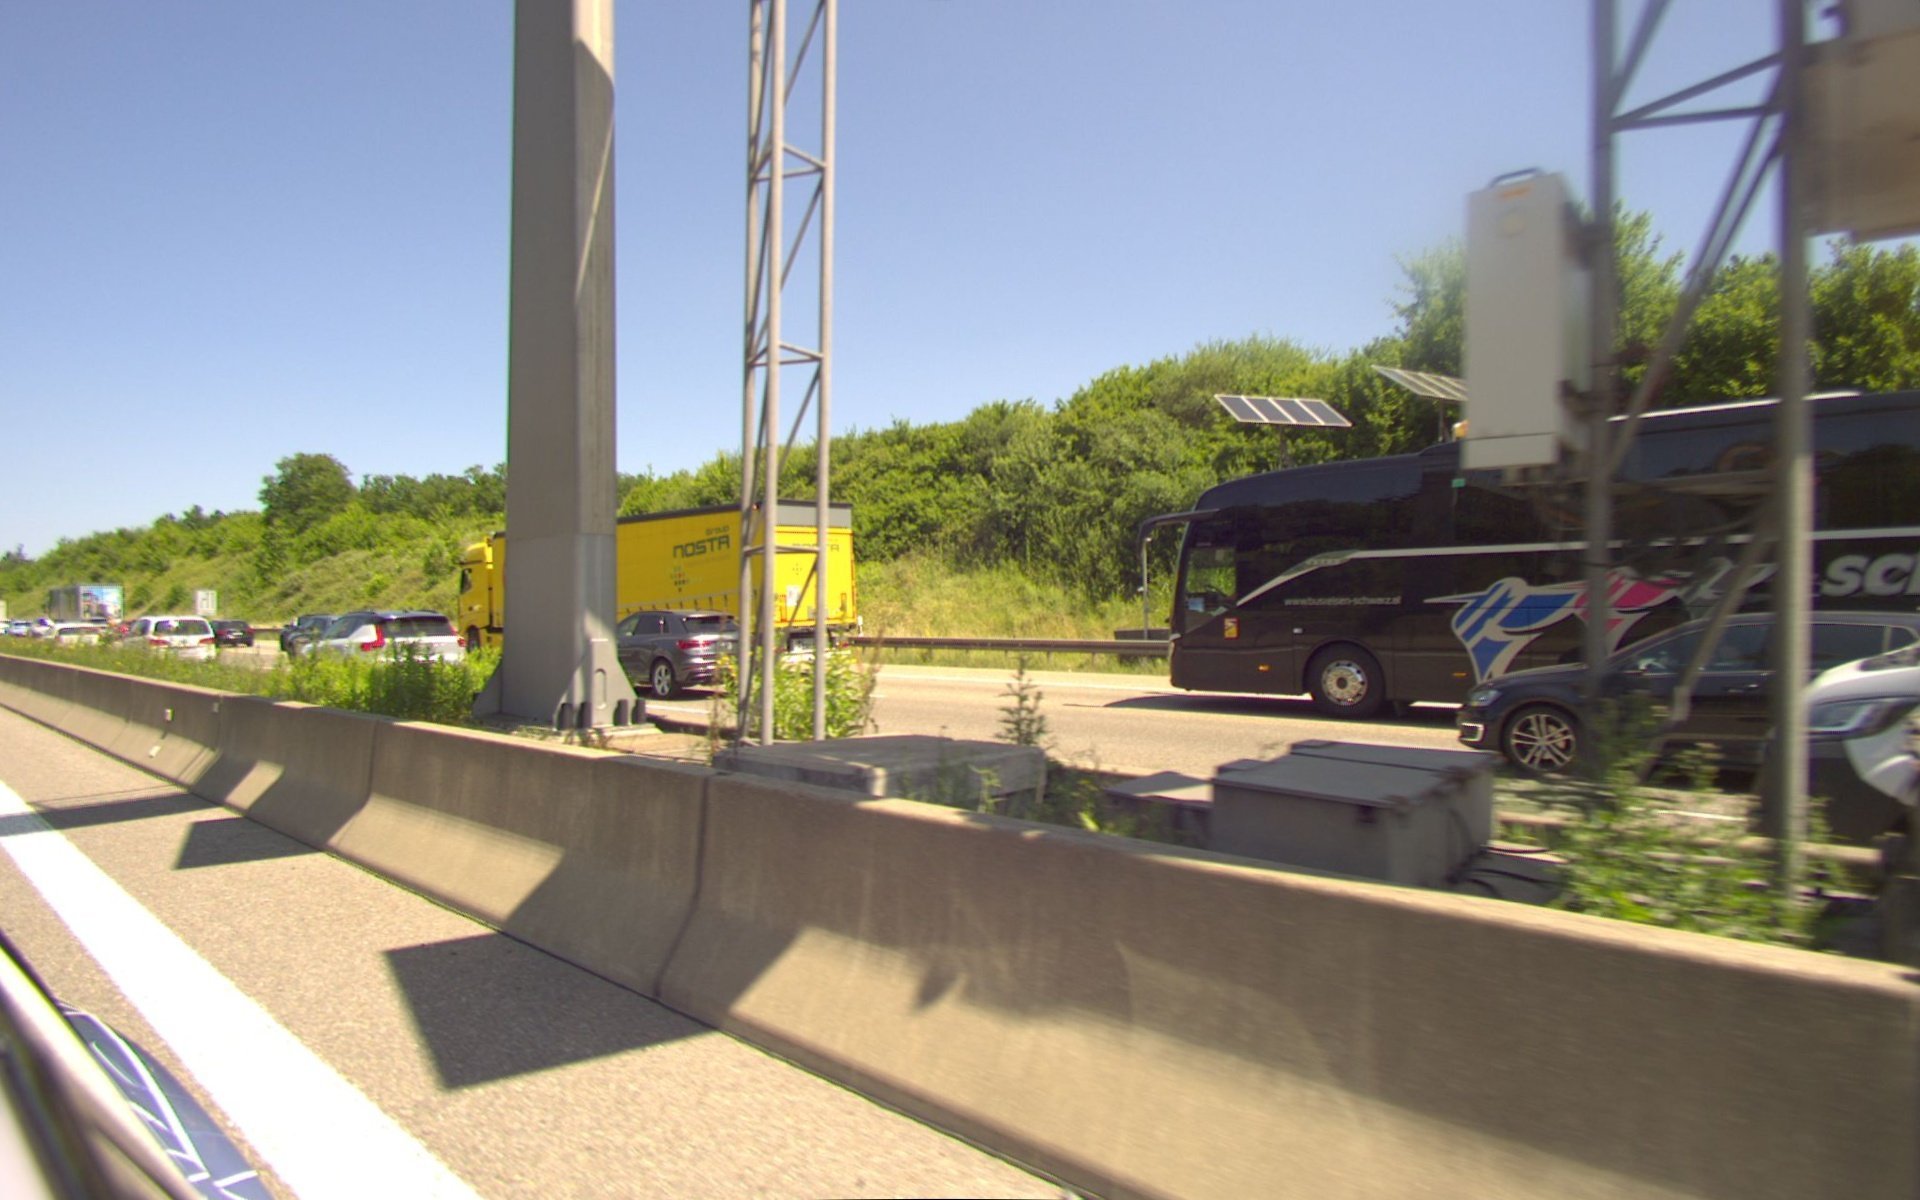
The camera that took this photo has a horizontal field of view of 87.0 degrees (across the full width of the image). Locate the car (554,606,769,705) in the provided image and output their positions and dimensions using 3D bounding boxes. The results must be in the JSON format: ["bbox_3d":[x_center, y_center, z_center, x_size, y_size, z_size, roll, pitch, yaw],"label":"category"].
[{"bbox_3d":[-5.743,0.952,19.153,4.556,1.625,1.757,-1,0,41],"label":"car"}]

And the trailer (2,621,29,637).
[{"bbox_3d":[-98.122,3.028,105.099,3.220,1.599,1.677,-1,0,40],"label":"trailer"}]

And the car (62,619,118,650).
[{"bbox_3d":[-50.411,1.974,58.616,4.906,1.641,1.793,-1,0,41],"label":"car"}]

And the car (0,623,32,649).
[{"bbox_3d":[-71.159,2.684,75.742,4.986,1.778,1.810,-1,0,40],"label":"car"}]

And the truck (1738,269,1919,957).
[{"bbox_3d":[6.562,0.026,3.338,6.209,2.863,2.098,-1,0,41],"label":"truck"}]

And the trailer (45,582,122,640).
[{"bbox_3d":[-69.133,0.834,79.661,12.780,4.294,2.813,-1,0,41],"label":"trailer"}]

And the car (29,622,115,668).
[{"bbox_3d":[-33.023,1.607,37.583,4.816,1.524,1.793,-1,0,41],"label":"car"}]

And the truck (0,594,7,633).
[{"bbox_3d":[-120.286,1.676,124.696,13.919,4.577,2.963,-1,0,42],"label":"truck"}]

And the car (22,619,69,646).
[{"bbox_3d":[-61.380,2.135,67.888,5.217,1.641,1.793,-1,0,41],"label":"car"}]

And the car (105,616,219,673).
[{"bbox_3d":[-23.913,1.255,30.262,5.028,1.524,1.793,-1,0,41],"label":"car"}]

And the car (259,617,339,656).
[{"bbox_3d":[-28.973,1.558,44.312,4.598,1.524,1.793,-1,0,41],"label":"car"}]

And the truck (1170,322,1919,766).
[{"bbox_3d":[8.437,-0.531,12.389,11.481,4.253,3.024,-1,0,41],"label":"truck"}]

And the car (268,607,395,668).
[{"bbox_3d":[-20.142,1.130,32.305,5.899,1.765,1.843,-1,0,41],"label":"car"}]

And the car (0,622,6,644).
[{"bbox_3d":[-83.014,2.814,86.284,4.986,1.778,1.810,-1,0,40],"label":"car"}]

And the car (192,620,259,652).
[{"bbox_3d":[-37.719,1.804,51.921,4.796,1.524,1.793,-1,0,41],"label":"car"}]

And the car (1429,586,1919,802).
[{"bbox_3d":[6.782,0.710,8.652,4.758,1.560,1.756,-1,-2,41],"label":"car"}]

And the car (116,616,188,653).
[{"bbox_3d":[-38.563,1.598,48.241,5.379,1.641,1.793,-1,0,41],"label":"car"}]

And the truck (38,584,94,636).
[{"bbox_3d":[-74.462,0.816,84.279,5.626,4.235,2.790,-1,0,41],"label":"truck"}]

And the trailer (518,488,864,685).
[{"bbox_3d":[-7.515,-0.257,26.369,11.852,4.175,2.622,-1,0,42],"label":"trailer"}]

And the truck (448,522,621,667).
[{"bbox_3d":[-13.373,-0.141,31.589,6.131,4.095,2.575,-1,0,42],"label":"truck"}]

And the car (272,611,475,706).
[{"bbox_3d":[-11.080,0.987,18.943,5.028,1.524,1.793,-1,0,41],"label":"car"}]

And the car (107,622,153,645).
[{"bbox_3d":[-56.525,2.242,68.890,4.120,1.478,1.793,-1,0,41],"label":"car"}]
